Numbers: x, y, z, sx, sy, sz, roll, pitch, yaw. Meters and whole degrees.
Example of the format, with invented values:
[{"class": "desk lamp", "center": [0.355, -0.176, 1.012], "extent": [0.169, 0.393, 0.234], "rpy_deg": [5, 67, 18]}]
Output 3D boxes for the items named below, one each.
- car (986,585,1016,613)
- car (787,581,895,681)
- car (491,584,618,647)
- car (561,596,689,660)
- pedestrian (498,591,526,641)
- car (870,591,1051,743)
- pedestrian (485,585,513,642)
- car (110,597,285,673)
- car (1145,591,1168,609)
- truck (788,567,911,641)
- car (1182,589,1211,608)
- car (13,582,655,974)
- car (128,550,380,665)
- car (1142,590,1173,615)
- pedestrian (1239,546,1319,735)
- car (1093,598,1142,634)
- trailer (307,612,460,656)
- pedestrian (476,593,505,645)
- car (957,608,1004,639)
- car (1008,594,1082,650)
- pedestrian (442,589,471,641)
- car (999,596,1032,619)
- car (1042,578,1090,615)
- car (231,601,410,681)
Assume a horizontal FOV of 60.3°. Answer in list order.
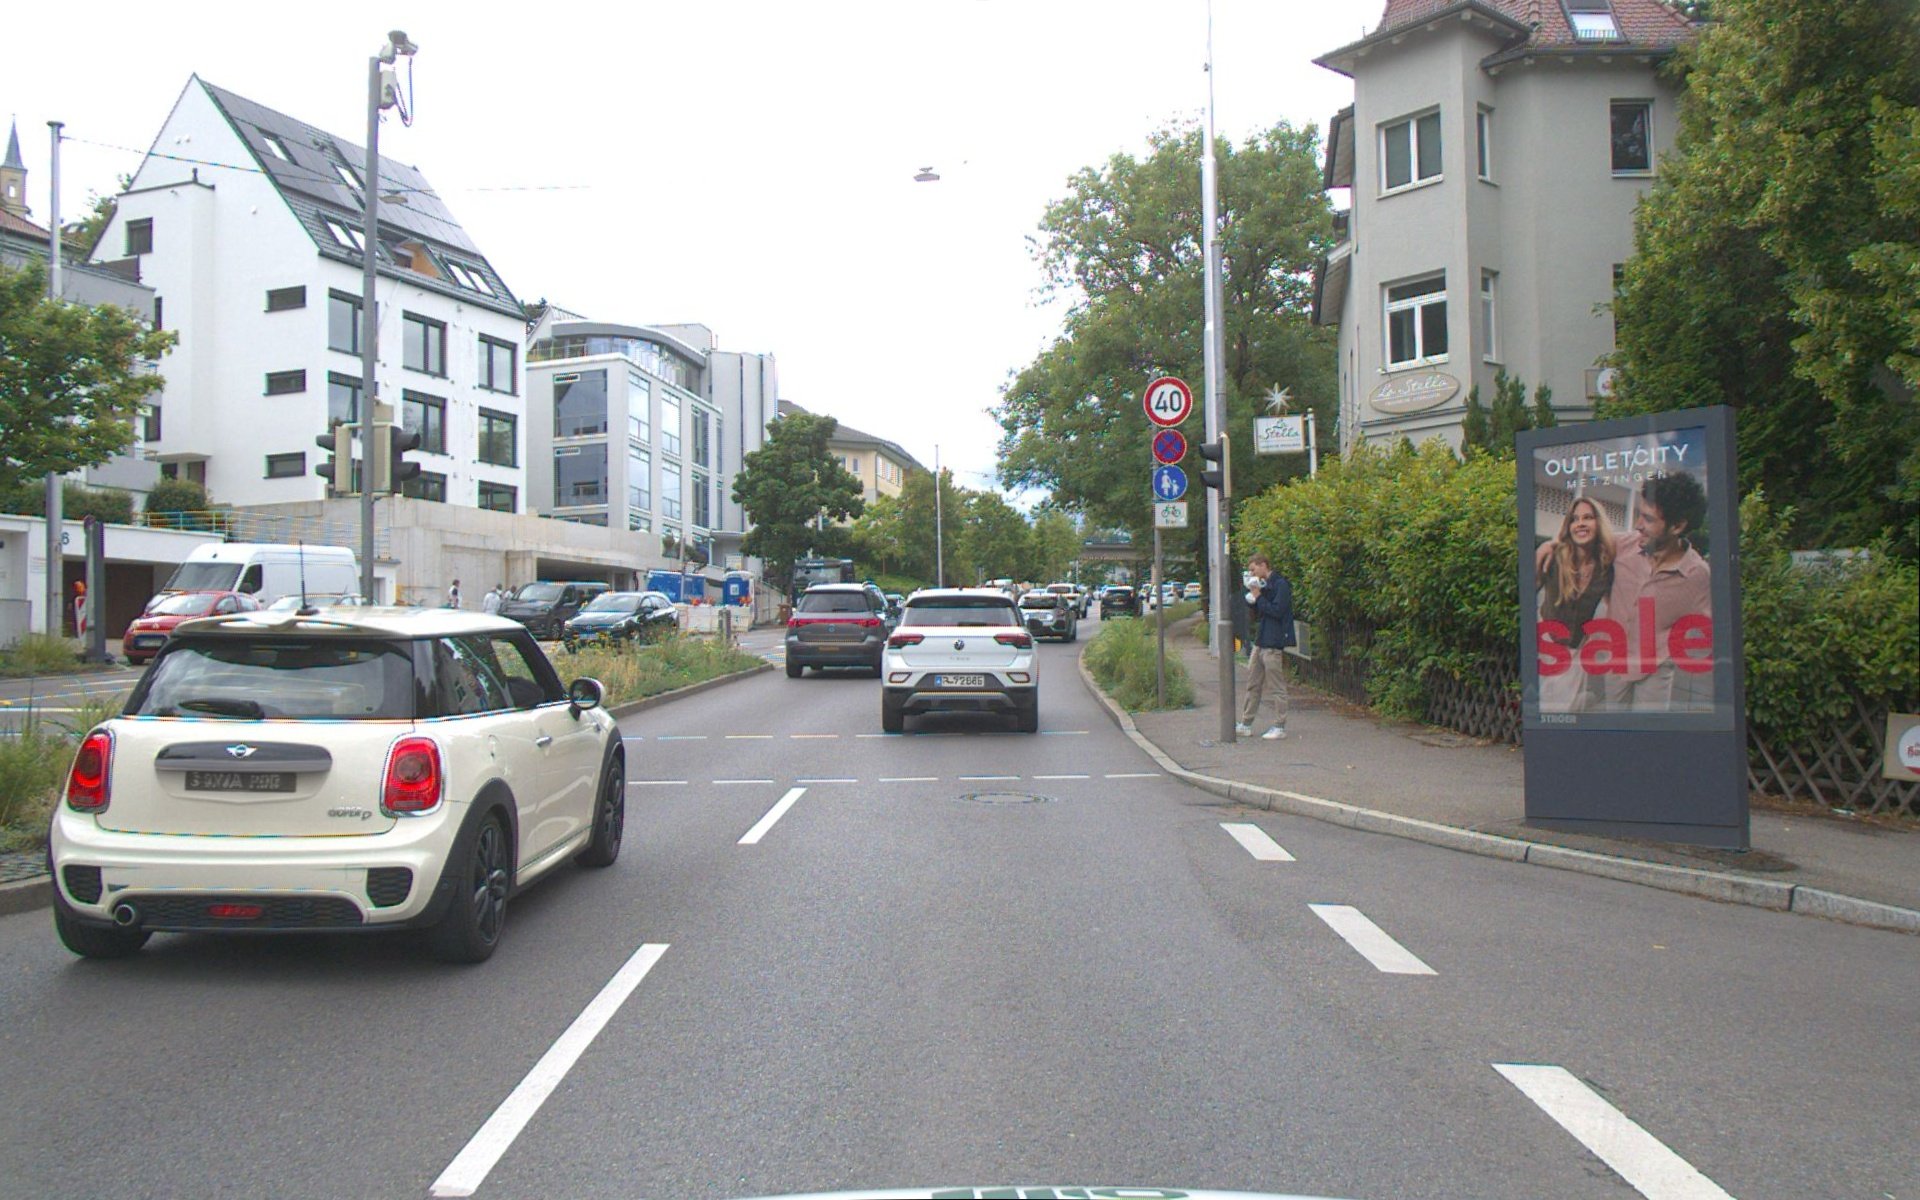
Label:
[{"class": "car", "center": [3.568, -0.062, 142.923], "extent": [2.024, 2.346, 5.469], "rpy_deg": [-1, 0, 8]}, {"class": "car", "center": [-2.136, 0.526, 30.809], "extent": [1.776, 1.681, 4.634], "rpy_deg": [-1, 0, -2]}, {"class": "car", "center": [-13.507, 0.486, 55.431], "extent": [1.940, 2.001, 5.222], "rpy_deg": [-1, 0, 14]}, {"class": "car", "center": [-8.377, 0.685, 41.761], "extent": [1.655, 1.527, 4.559], "rpy_deg": [0, 0, 9]}, {"class": "pedestrian", "center": [-15.202, 0.542, 56.157], "extent": [0.669, 1.669, 0.663], "rpy_deg": [1, 0, -39]}, {"class": "car", "center": [-0.086, 0.713, 19.403], "extent": [1.776, 1.566, 3.685], "rpy_deg": [-1, 0, -5]}, {"class": "pedestrian", "center": [-15.341, 0.459, 55.062], "extent": [0.669, 1.873, 0.663], "rpy_deg": [2, 0, -39]}, {"class": "car", "center": [-15.890, 0.692, 34.684], "extent": [1.587, 1.491, 3.929], "rpy_deg": [-1, 0, 5]}, {"class": "car", "center": [17.286, -0.029, 145.678], "extent": [1.819, 1.527, 4.057], "rpy_deg": [-1, 0, 4]}, {"class": "truck", "center": [-4.686, 0.149, 72.417], "extent": [2.898, 3.023, 8.986], "rpy_deg": [0, 0, 13]}, {"class": "car", "center": [20.719, -0.135, 145.187], "extent": [1.944, 1.527, 4.056], "rpy_deg": [-1, 0, 0]}, {"class": "car", "center": [-2.650, 0.658, 7.899], "extent": [1.594, 1.418, 3.567], "rpy_deg": [-1, 0, 2]}, {"class": "car", "center": [-17.422, 0.172, 41.426], "extent": [2.184, 2.613, 7.428], "rpy_deg": [-1, 0, 9]}, {"class": "car", "center": [12.522, 0.150, 104.817], "extent": [1.818, 1.527, 4.059], "rpy_deg": [-1, 0, 8]}, {"class": "pedestrian", "center": [3.217, 0.401, 16.704], "extent": [0.679, 1.866, 0.620], "rpy_deg": [1, -1, 1]}, {"class": "car", "center": [7.325, 0.747, 76.815], "extent": [1.833, 1.527, 4.558], "rpy_deg": [2, -1, 10]}, {"class": "trailer", "center": [-16.415, 0.940, 47.372], "extent": [2.198, 1.131, 4.626], "rpy_deg": [-1, 0, 9]}, {"class": "pedestrian", "center": [-15.314, 0.633, 53.926], "extent": [0.669, 1.669, 0.663], "rpy_deg": [1, 0, -39]}, {"class": "car", "center": [1.077, 1.215, 85.632], "extent": [1.659, 1.523, 4.490], "rpy_deg": [0, 0, 11]}, {"class": "car", "center": [2.604, 0.667, 49.805], "extent": [1.833, 1.527, 4.558], "rpy_deg": [2, -1, 7]}, {"class": "pedestrian", "center": [-16.389, 0.478, 53.876], "extent": [0.612, 1.669, 0.672], "rpy_deg": [1, 0, 15]}, {"class": "car", "center": [4.315, 0.555, 127.981], "extent": [2.024, 1.685, 4.696], "rpy_deg": [-1, 0, 8]}, {"class": "car", "center": [5.114, -0.161, 79.161], "extent": [1.818, 1.681, 4.640], "rpy_deg": [-1, 0, 9]}, {"class": "car", "center": [-12.438, 0.774, 32.419], "extent": [1.591, 1.418, 3.859], "rpy_deg": [2, 0, 7]}]
